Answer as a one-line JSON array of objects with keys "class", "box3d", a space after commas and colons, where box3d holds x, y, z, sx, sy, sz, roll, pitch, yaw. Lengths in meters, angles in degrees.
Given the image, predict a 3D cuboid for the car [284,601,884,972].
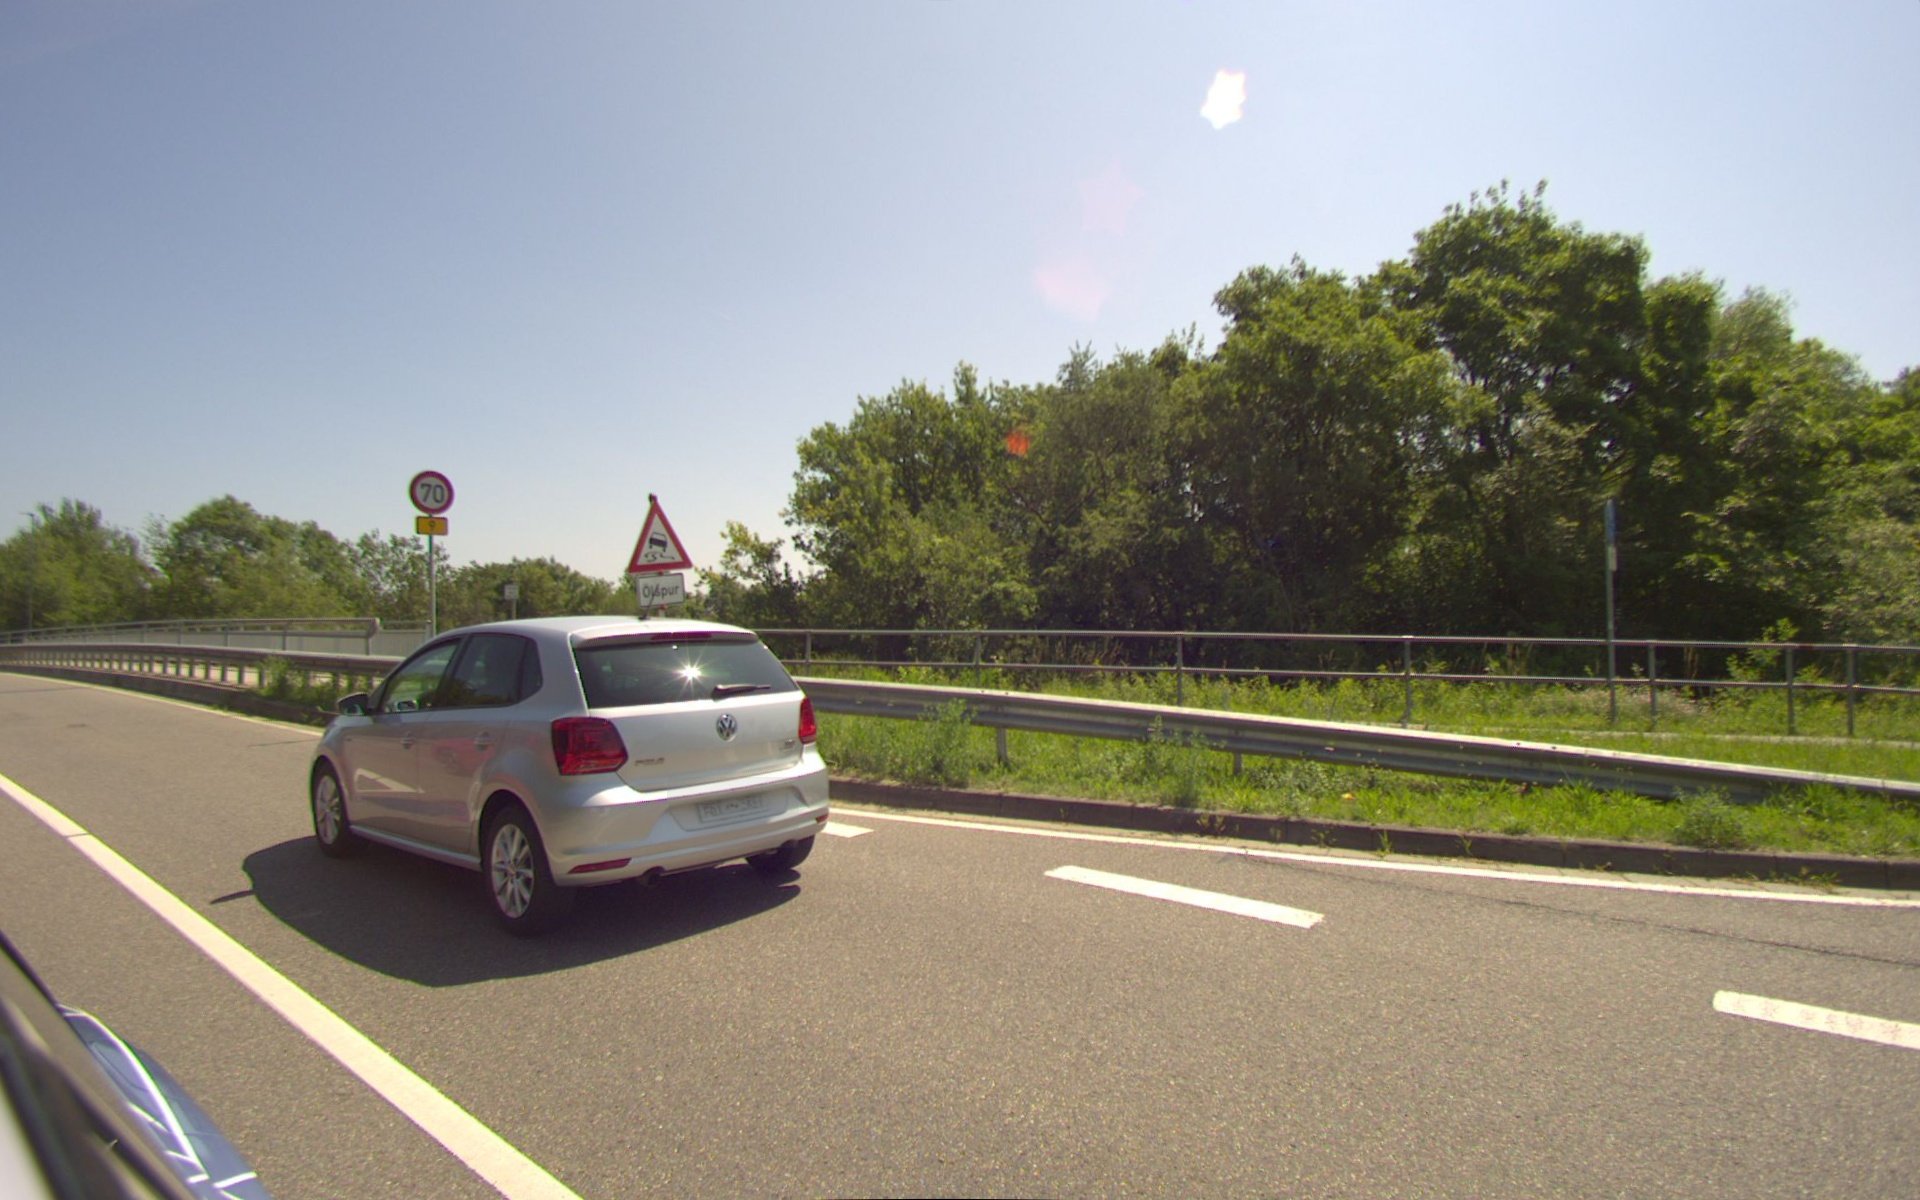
[{"class": "car", "box3d": [-2.342, 0.762, 5.797, 3.764, 1.429, 1.627, -2, -1, 41]}]
